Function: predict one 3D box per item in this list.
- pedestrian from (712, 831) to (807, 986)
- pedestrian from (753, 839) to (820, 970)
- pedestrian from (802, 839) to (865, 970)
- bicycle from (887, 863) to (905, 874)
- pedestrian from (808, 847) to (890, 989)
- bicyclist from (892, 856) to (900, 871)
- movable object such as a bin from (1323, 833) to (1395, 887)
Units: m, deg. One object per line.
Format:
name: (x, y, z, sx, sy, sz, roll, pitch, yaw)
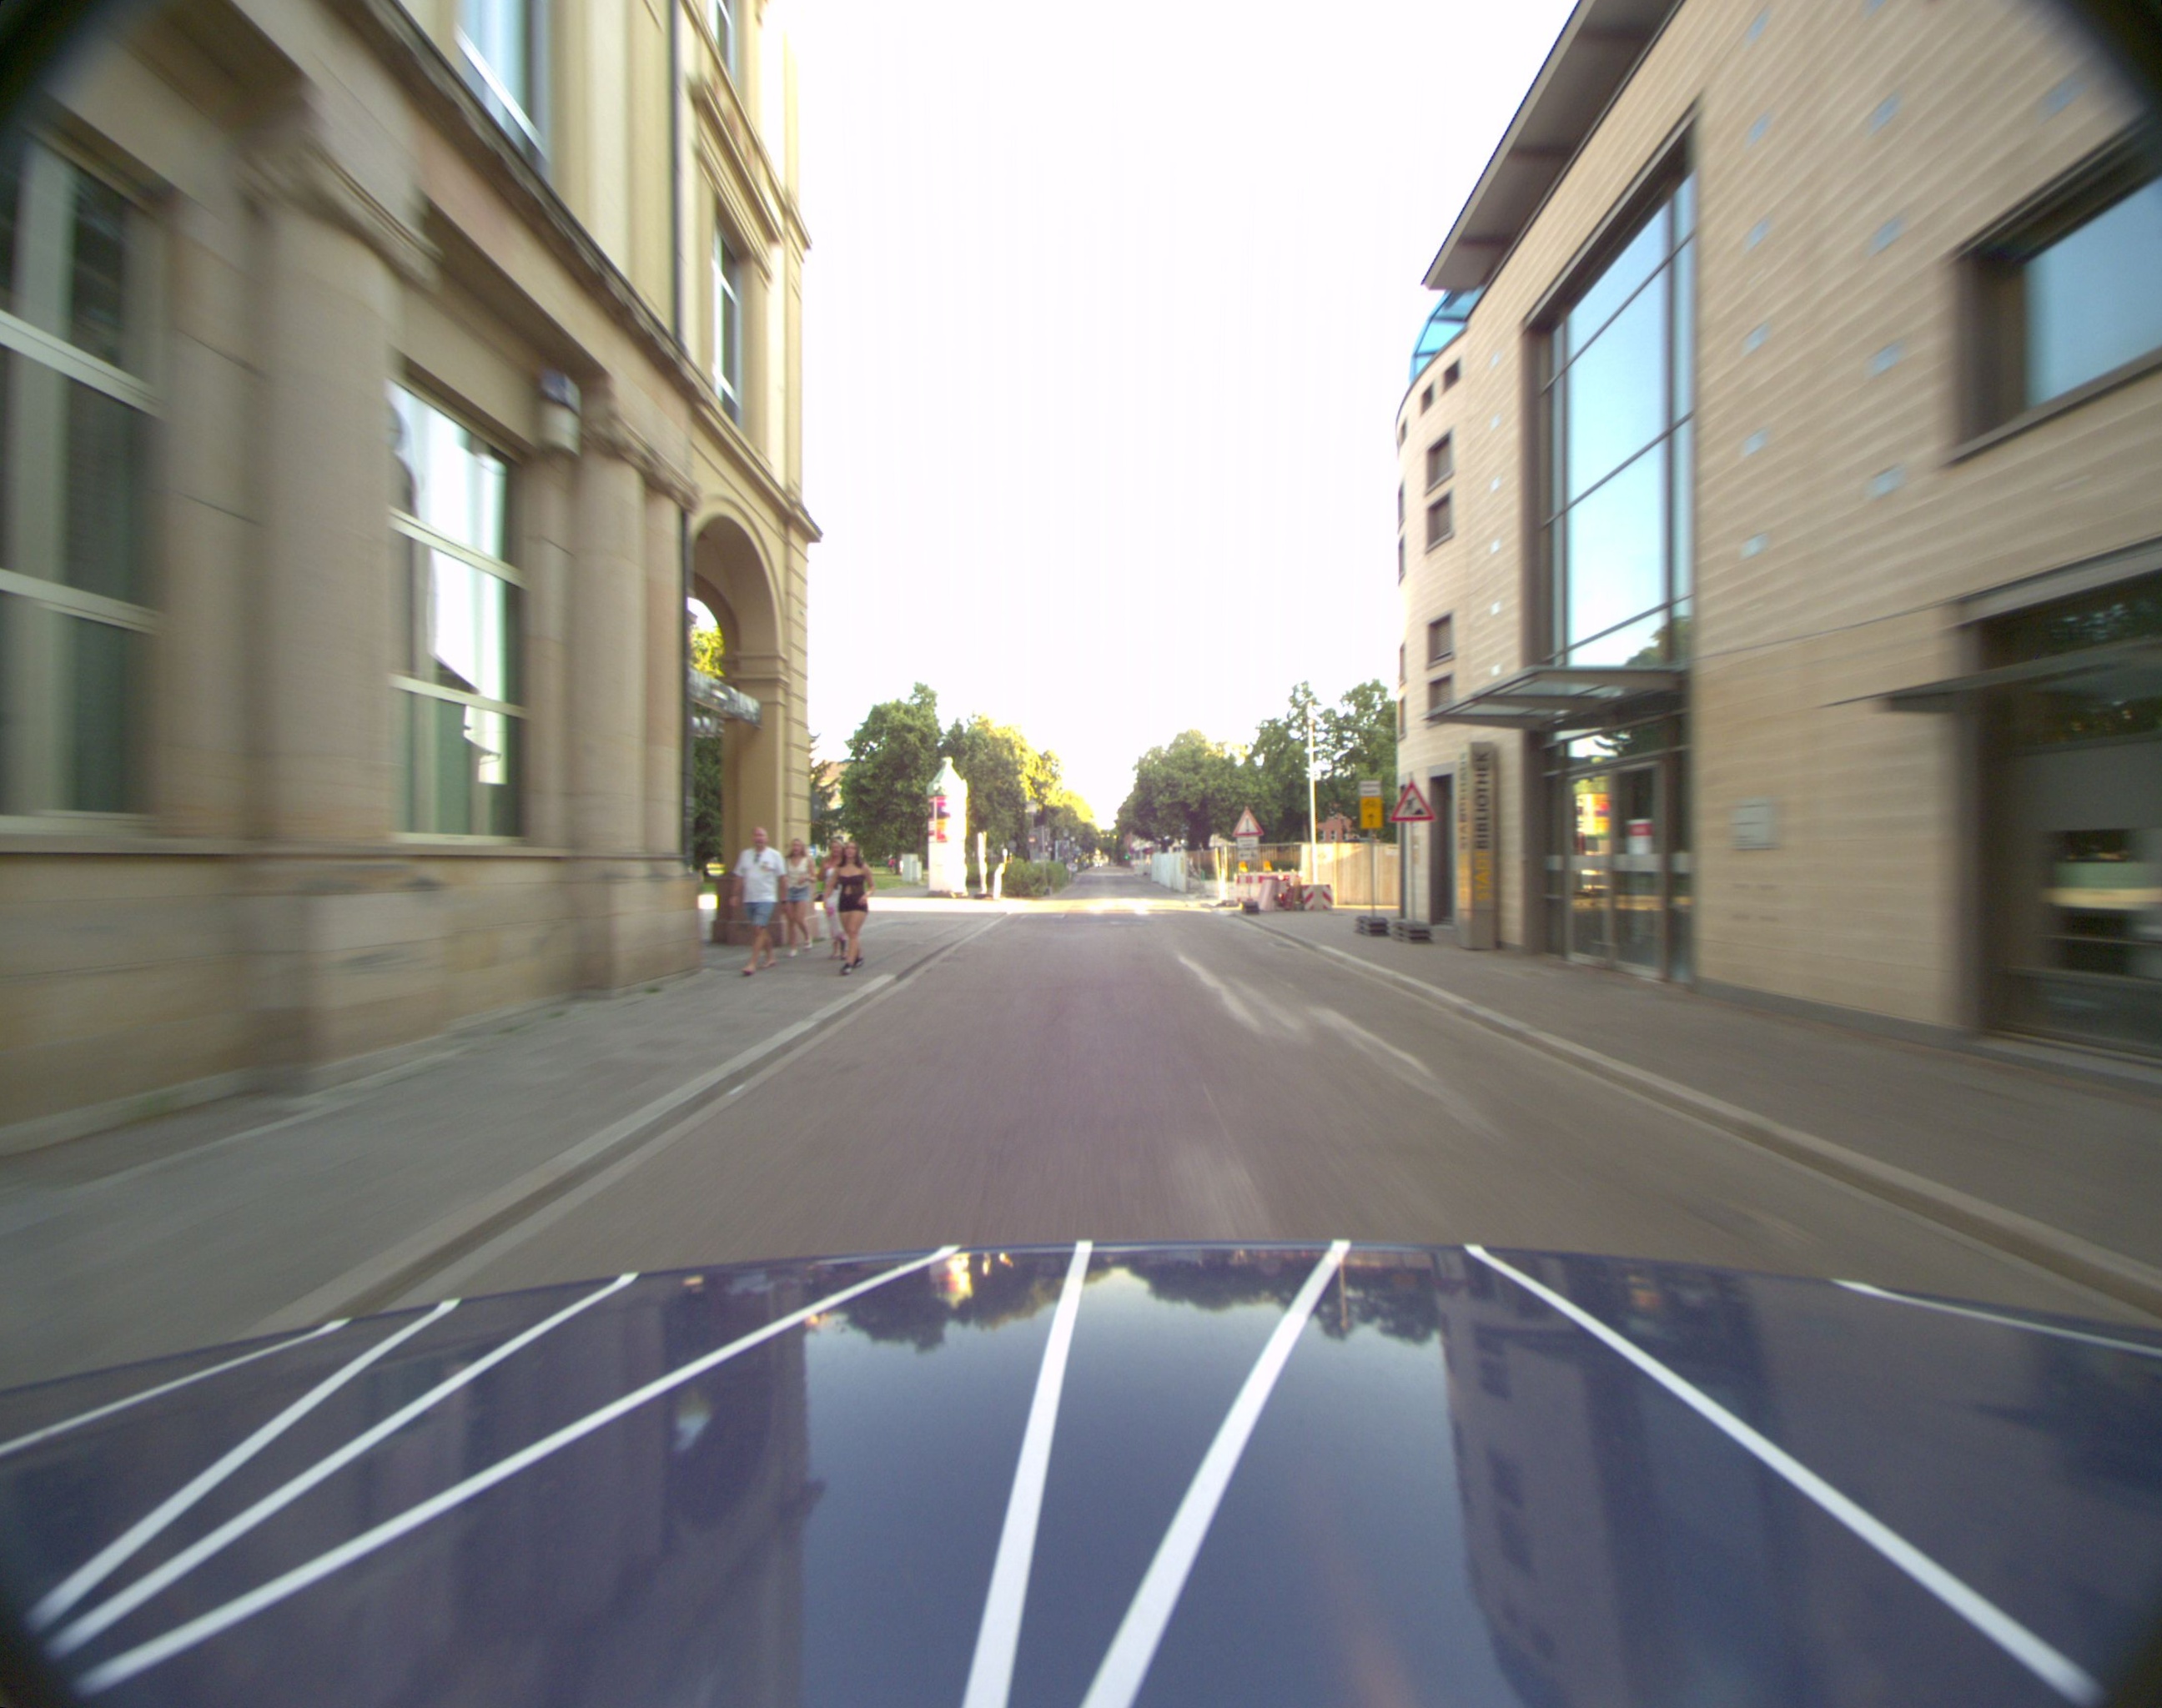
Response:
pedestrian: (-4.025, 0.658, 9.572, 0.814, 1.864, 0.875, 0, 1, 1)
pedestrian: (-4.175, 0.696, 10.818, 0.638, 1.793, 0.772, 0, 1, 1)
pedestrian: (-3.507, 0.691, 10.815, 0.638, 1.793, 0.772, 0, 1, 1)
bicycle: (-19.933, 1.577, 81.977, 1.778, 1.170, 0.564, 0, 0, -33)
pedestrian: (-2.963, 0.786, 9.770, 0.777, 1.736, 0.875, 0, 1, 1)
bicyclist: (-19.962, 1.061, 81.955, 0.678, 1.622, 0.657, 0, 0, -33)
movable object such as a bin: (13.882, 0.278, 38.057, 2.161, 2.588, 2.743, 0, 0, -21)
